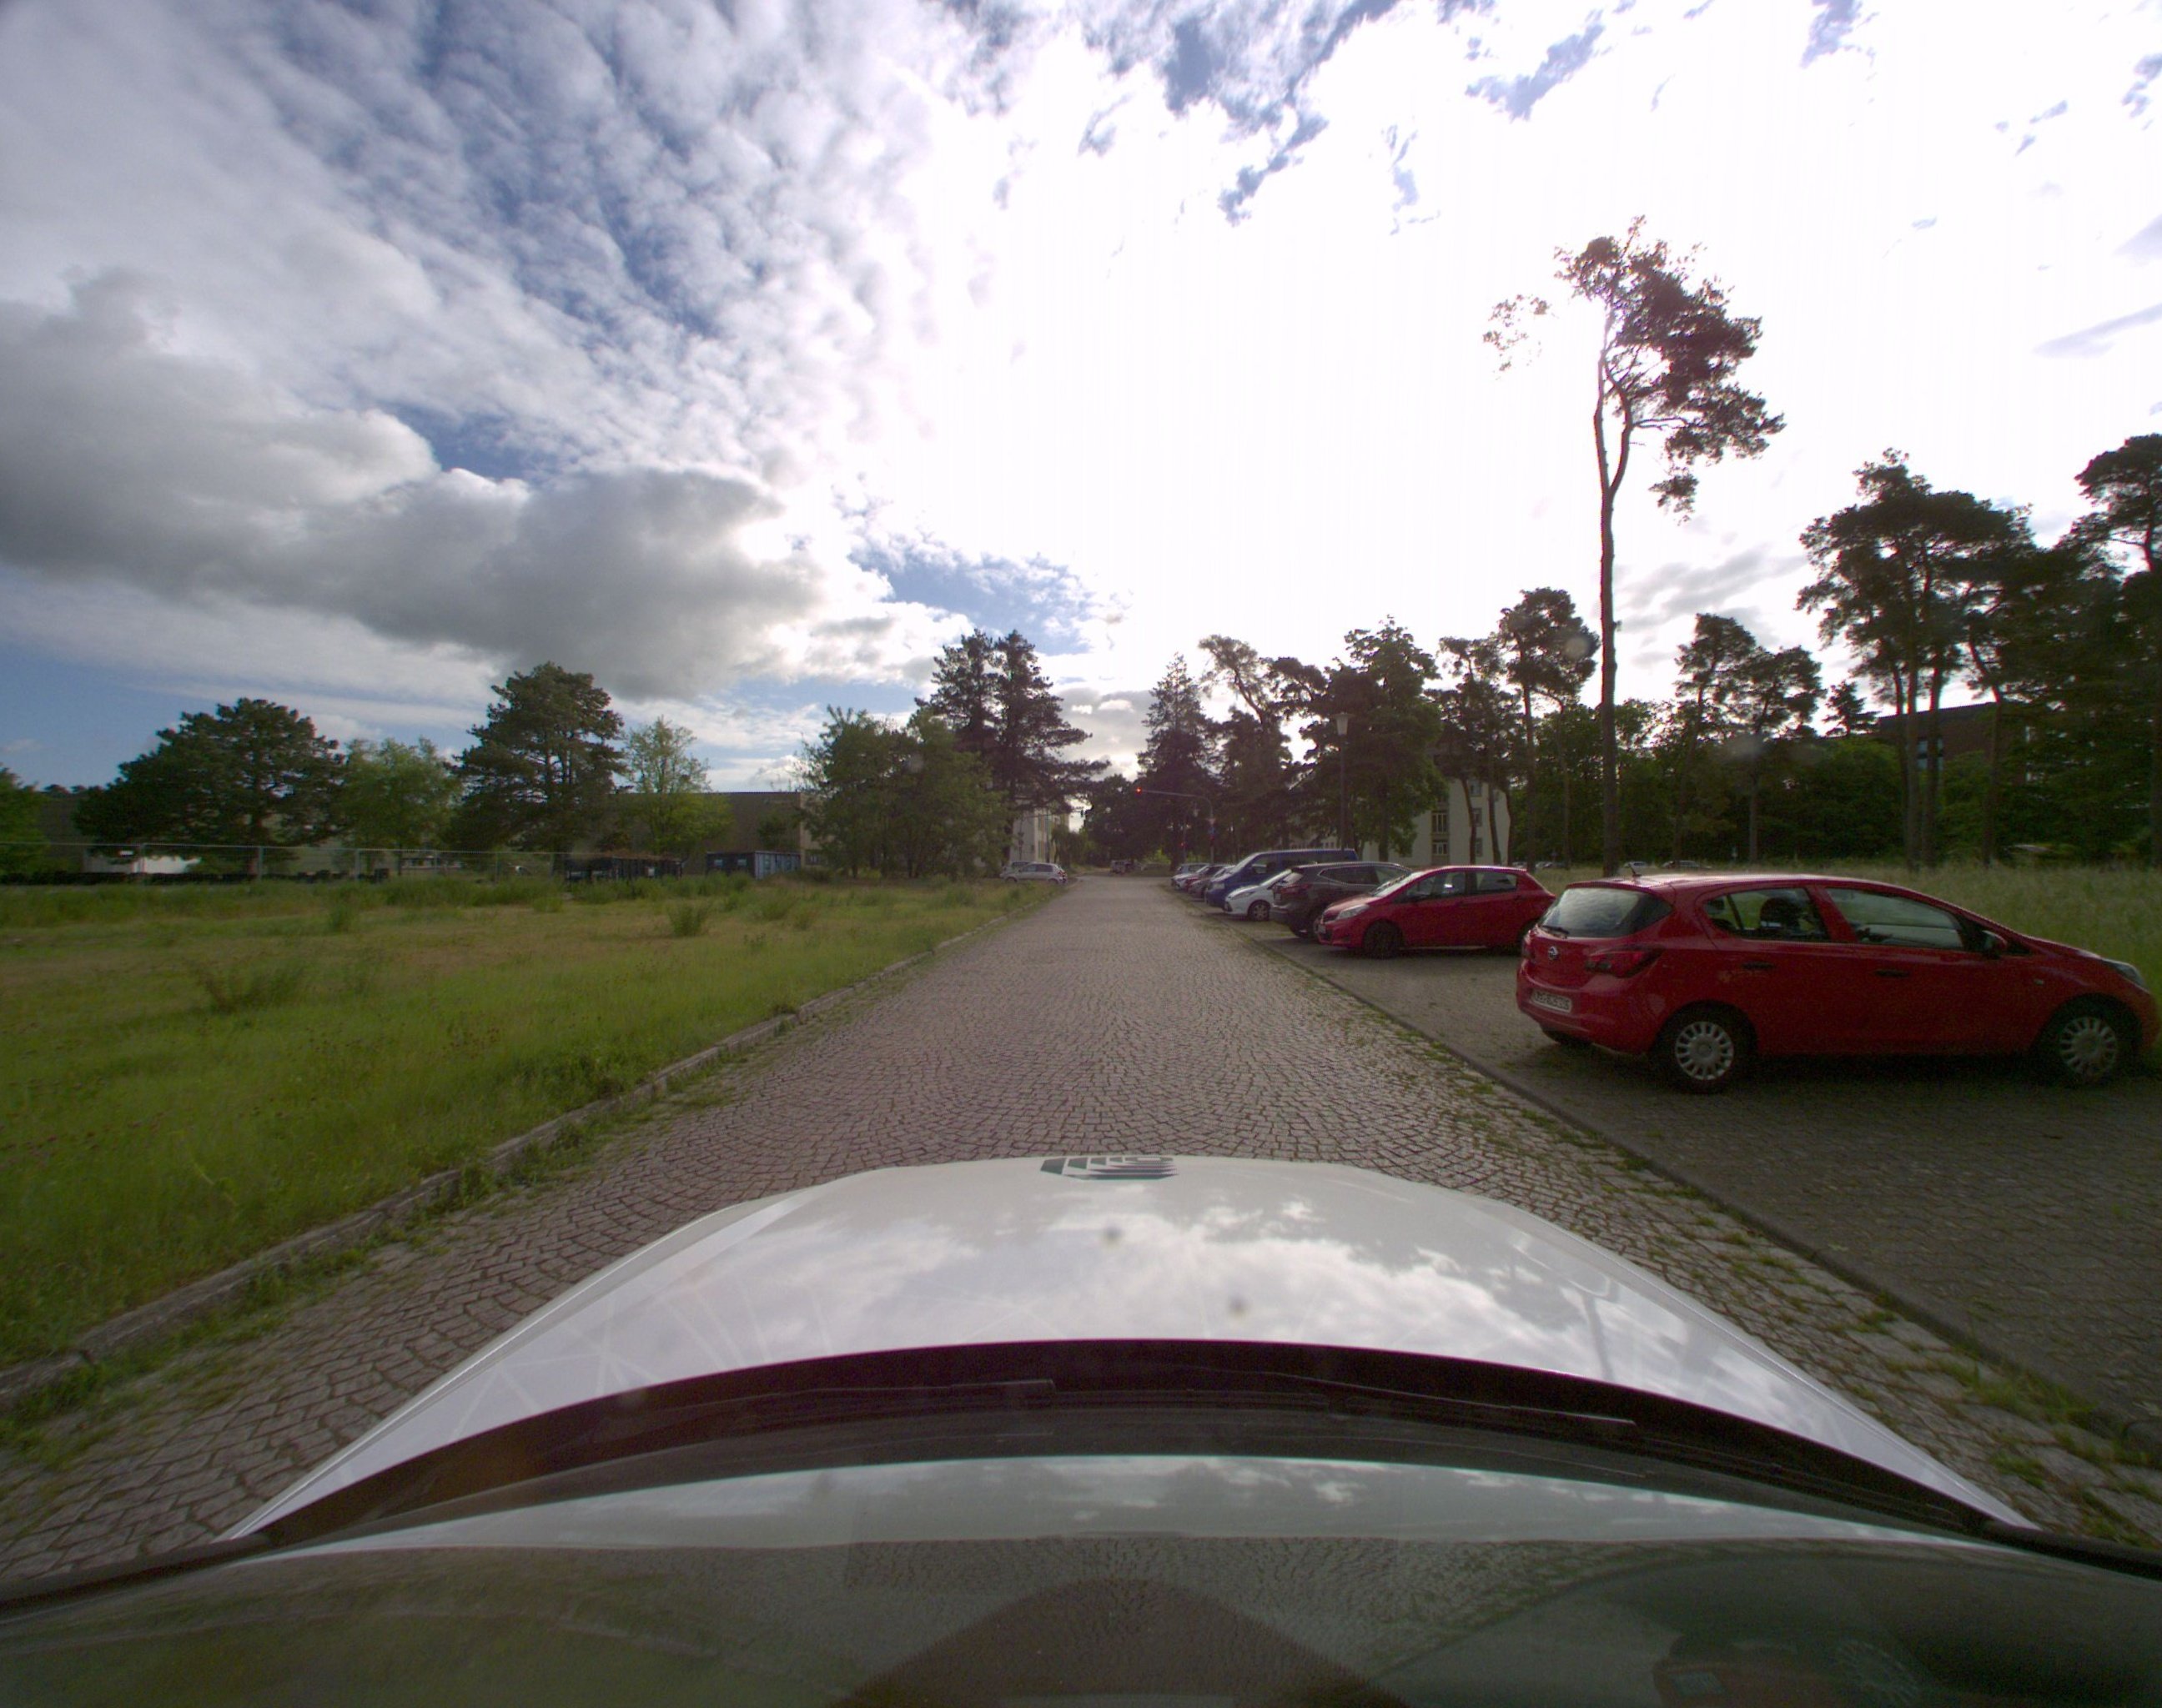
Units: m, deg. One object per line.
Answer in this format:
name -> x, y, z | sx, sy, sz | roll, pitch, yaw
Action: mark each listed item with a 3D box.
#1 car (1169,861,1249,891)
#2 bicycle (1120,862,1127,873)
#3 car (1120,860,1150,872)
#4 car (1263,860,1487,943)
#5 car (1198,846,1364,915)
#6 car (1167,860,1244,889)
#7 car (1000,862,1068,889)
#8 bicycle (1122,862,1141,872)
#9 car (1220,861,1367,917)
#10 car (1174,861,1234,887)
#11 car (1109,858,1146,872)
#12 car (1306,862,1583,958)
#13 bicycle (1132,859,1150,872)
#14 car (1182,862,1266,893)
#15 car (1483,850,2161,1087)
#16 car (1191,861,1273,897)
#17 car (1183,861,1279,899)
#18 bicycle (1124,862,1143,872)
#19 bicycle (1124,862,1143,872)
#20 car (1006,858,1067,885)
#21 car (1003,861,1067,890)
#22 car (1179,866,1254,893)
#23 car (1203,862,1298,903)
car -> 6.863, 1.152, 43.871 | 3.978, 1.543, 1.662 | 0, 0, -4
bicycle -> 4.941, 1.575, 94.602 | 0.806, 1.268, 1.975 | 0, -1, 4
car -> 7.425, 1.596, 112.846 | 3.979, 1.644, 1.997 | 0, -1, -4
car -> 5.847, 0.913, 16.522 | 3.936, 1.580, 1.762 | 0, -1, 0
car -> 6.160, 0.791, 25.429 | 4.766, 2.040, 1.738 | 0, 0, 0
car -> 7.088, 1.155, 46.690 | 4.114, 1.543, 1.662 | 0, 0, -4
car -> -2.830, 1.256, 48.783 | 3.979, 1.552, 1.997 | 0, 0, -4
bicycle -> 6.206, 1.601, 100.126 | 2.156, 1.268, 0.811 | 0, -1, -4
car -> 5.921, 0.959, 22.977 | 3.710, 1.424, 1.654 | -2, -1, -1
car -> 7.433, 1.185, 49.251 | 3.381, 1.543, 1.389 | 0, 0, -4
car -> 6.614, 1.515, 116.156 | 5.048, 2.014, 1.994 | 0, -1, -8
car -> 6.044, 0.905, 13.891 | 3.971, 1.518, 1.739 | 0, 0, 2
bicycle -> 7.346, 1.433, 99.586 | 2.156, 1.616, 0.811 | 0, -1, -4
car -> 7.267, 1.166, 41.630 | 3.978, 1.543, 1.662 | 0, -1, -4
car -> 5.465, 0.772, 6.322 | 3.825, 1.505, 1.738 | -1, 0, 1
car -> 6.786, 1.107, 36.772 | 3.291, 1.504, 1.659 | 0, 0, -9
car -> 6.195, 1.060, 33.817 | 3.596, 1.506, 1.659 | 0, 0, -9
bicycle -> 6.386, 1.580, 98.905 | 2.156, 1.268, 0.811 | 0, -1, -4
bicycle -> 6.363, 1.569, 98.318 | 2.156, 1.268, 0.811 | 0, -1, -4
car -> -2.974, 1.142, 54.301 | 3.980, 1.750, 1.924 | 0, -1, -5
car -> -2.881, 1.326, 51.275 | 3.979, 1.706, 1.997 | 0, 0, -4
car -> 6.536, 1.223, 39.411 | 3.285, 1.267, 1.662 | 0, 0, -4
car -> 6.388, 1.059, 30.986 | 3.281, 1.504, 1.664 | 0, 0, 0
